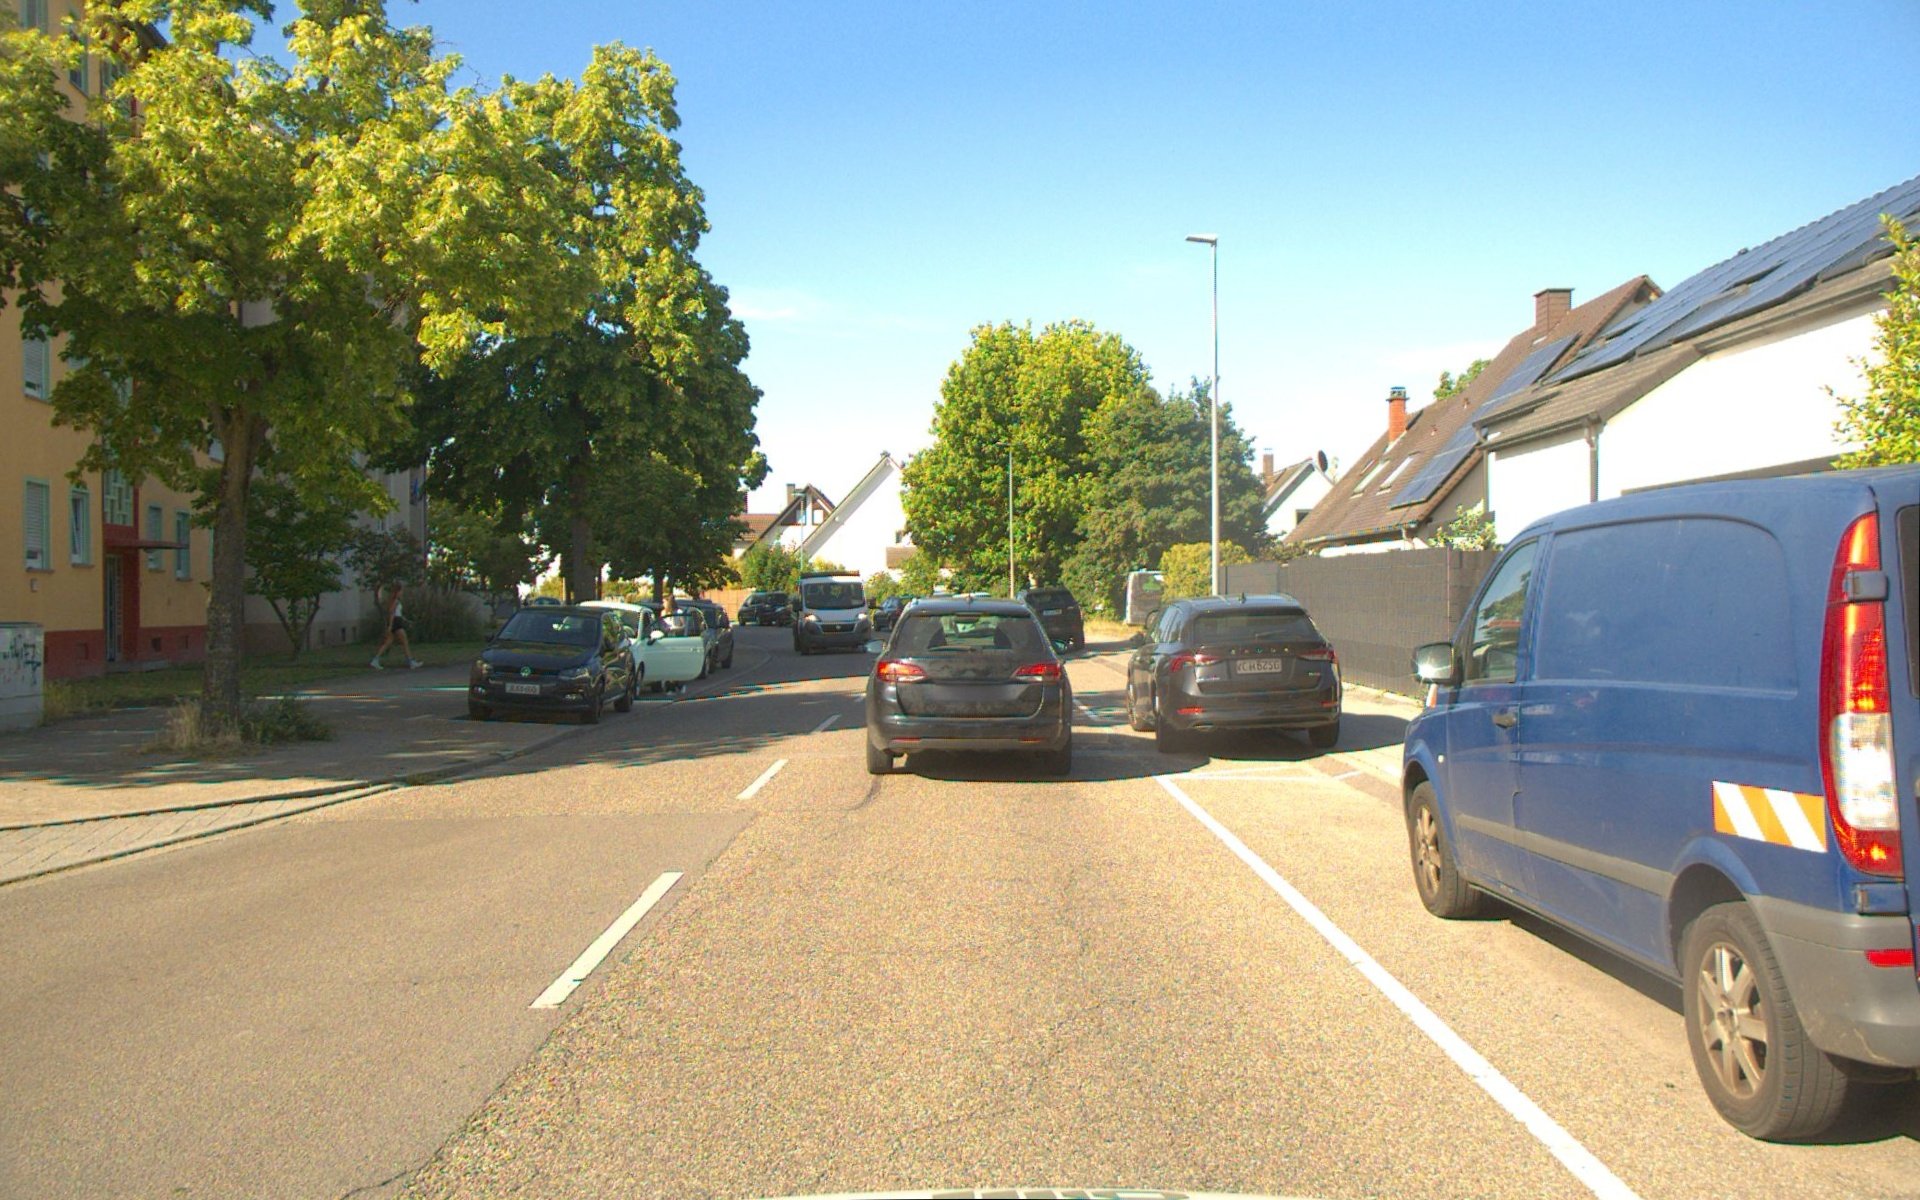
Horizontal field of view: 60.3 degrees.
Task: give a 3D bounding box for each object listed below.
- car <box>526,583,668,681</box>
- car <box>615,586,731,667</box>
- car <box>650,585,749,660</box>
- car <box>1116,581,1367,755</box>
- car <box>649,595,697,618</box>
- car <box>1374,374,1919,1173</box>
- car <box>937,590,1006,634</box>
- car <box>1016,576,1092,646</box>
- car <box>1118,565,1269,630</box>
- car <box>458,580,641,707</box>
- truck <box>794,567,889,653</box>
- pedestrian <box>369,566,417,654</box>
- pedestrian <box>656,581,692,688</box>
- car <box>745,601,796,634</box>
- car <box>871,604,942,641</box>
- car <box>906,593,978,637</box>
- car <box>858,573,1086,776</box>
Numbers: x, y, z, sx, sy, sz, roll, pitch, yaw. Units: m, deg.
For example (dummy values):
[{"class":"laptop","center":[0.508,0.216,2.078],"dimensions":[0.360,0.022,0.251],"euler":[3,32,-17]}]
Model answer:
[{"class":"car","center":[-6.104,0.579,28.207],"dimensions":[1.666,1.550,4.049],"euler":[0,-2,-3]},{"class":"car","center":[-5.980,0.555,34.823],"dimensions":[1.623,1.536,4.000],"euler":[2,-1,1]},{"class":"car","center":[-6.099,0.508,39.105],"dimensions":[1.536,1.556,3.918],"euler":[5,0,1]},{"class":"car","center":[2.684,0.595,16.878],"dimensions":[1.729,1.506,4.991],"euler":[0,0,0]},{"class":"car","center":[-18.613,0.417,107.092],"dimensions":[1.894,1.432,4.255],"euler":[1,-1,-27]},{"class":"car","center":[3.105,0.466,6.381],"dimensions":[1.799,1.941,4.697],"euler":[2,0,0]},{"class":"car","center":[0.372,0.464,59.906],"dimensions":[1.729,1.506,4.283],"euler":[1,-1,-11]},{"class":"car","center":[2.452,0.305,44.057],"dimensions":[1.741,1.754,4.293],"euler":[1,-1,0]},{"class":"car","center":[7.552,-0.062,53.790],"dimensions":[4.585,2.018,2.142],"euler":[1,-1,-1]},{"class":"car","center":[-5.527,0.615,22.750],"dimensions":[1.667,1.506,4.048],"euler":[3,-2,-4]},{"class":"truck","center":[-3.444,0.312,49.372],"dimensions":[2.085,2.375,6.444],"euler":[0,-1,3]},{"class":"pedestrian","center":[-11.494,0.216,33.550],"dimensions":[0.671,1.748,0.720],"euler":[1,-3,-1]},{"class":"pedestrian","center":[-4.895,0.597,28.333],"dimensions":[0.494,1.792,0.694],"euler":[1,-3,-4]},{"class":"car","center":[-10.208,0.959,89.003],"dimensions":[1.874,1.695,4.168],"euler":[1,-1,-19]},{"class":"car","center":[-2.288,0.956,69.728],"dimensions":[1.973,1.501,4.275],"euler":[1,-1,-16]},{"class":"car","center":[-0.738,0.599,64.481],"dimensions":[1.879,1.628,4.279],"euler":[1,-1,-13]},{"class":"car","center":[0.074,0.620,15.071],"dimensions":[1.726,1.517,4.290],"euler":[2,-1,-1]}]
